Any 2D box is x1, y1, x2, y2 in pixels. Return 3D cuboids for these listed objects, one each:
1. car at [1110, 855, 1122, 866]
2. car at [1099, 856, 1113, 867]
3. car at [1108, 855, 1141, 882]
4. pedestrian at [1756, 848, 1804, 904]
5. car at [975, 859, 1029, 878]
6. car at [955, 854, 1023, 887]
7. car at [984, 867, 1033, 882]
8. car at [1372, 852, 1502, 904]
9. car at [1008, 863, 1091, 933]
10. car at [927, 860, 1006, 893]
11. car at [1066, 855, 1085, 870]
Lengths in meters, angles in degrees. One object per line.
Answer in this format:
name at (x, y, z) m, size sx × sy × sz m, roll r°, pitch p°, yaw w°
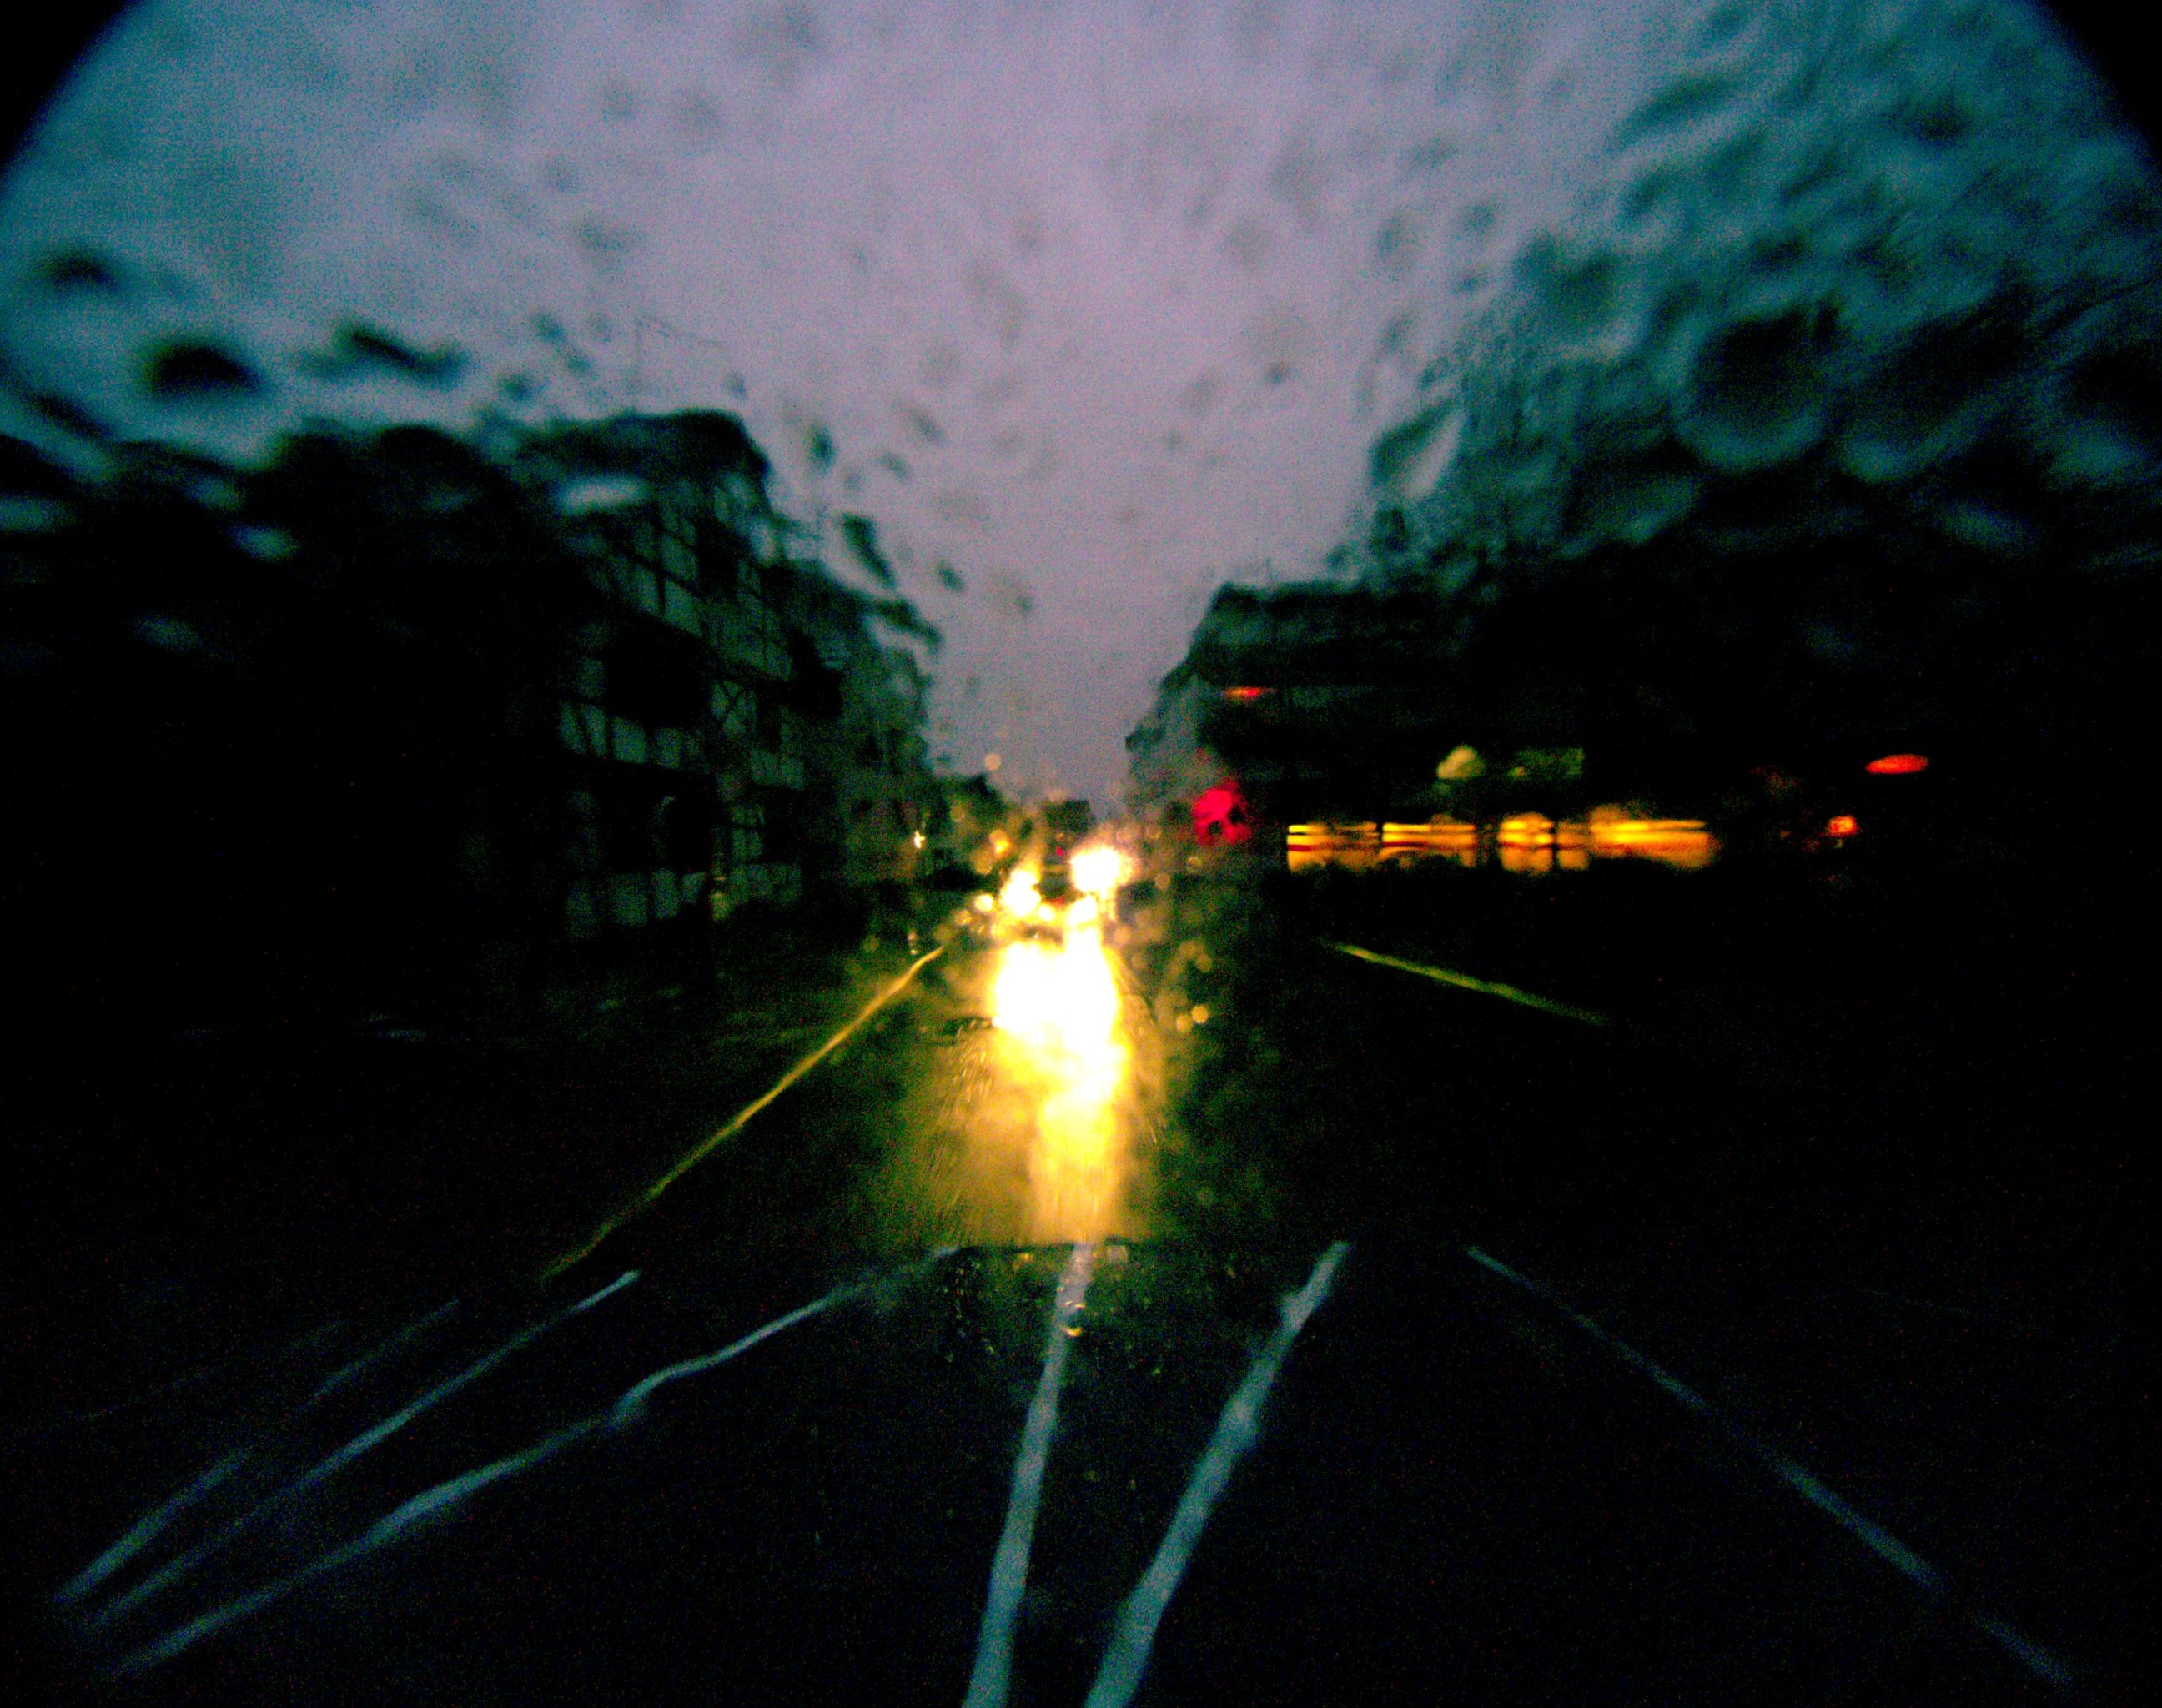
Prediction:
car at (6.630, 1.308, 144.817) m, size 1.836 × 2.002 × 3.702 m, roll -2°, pitch 0°, yaw 8°
car at (4.029, 1.188, 121.304) m, size 1.836 × 1.703 × 3.702 m, roll -2°, pitch 0°, yaw 7°
car at (2.809, 0.932, 49.785) m, size 1.900 × 1.607 × 3.826 m, roll -2°, pitch 0°, yaw -1°
pedestrian at (17.051, 0.525, 18.548) m, size 0.620 × 1.331 × 0.568 m, roll -1°, pitch 0°, yaw 11°
car at (-5.874, 1.074, 56.484) m, size 3.888 × 1.359 × 1.551 m, roll 0°, pitch 0°, yaw -2°
car at (-5.349, 0.940, 44.235) m, size 3.890 × 1.866 × 1.868 m, roll 0°, pitch 0°, yaw -7°
car at (-5.868, 1.669, 62.123) m, size 3.888 × 1.120 × 1.551 m, roll 0°, pitch 0°, yaw -2°
car at (10.846, 0.725, 23.348) m, size 3.306 × 1.498 × 1.503 m, roll -2°, pitch 0°, yaw 10°
car at (-0.677, 1.004, 18.688) m, size 1.731 × 1.475 × 3.604 m, roll -2°, pitch 0°, yaw 2°
car at (-5.786, 1.114, 38.733) m, size 3.853 × 1.618 × 1.611 m, roll 1°, pitch 0°, yaw -6°
car at (-0.577, 0.937, 83.265) m, size 1.923 × 1.608 × 3.869 m, roll -2°, pitch 0°, yaw 2°
